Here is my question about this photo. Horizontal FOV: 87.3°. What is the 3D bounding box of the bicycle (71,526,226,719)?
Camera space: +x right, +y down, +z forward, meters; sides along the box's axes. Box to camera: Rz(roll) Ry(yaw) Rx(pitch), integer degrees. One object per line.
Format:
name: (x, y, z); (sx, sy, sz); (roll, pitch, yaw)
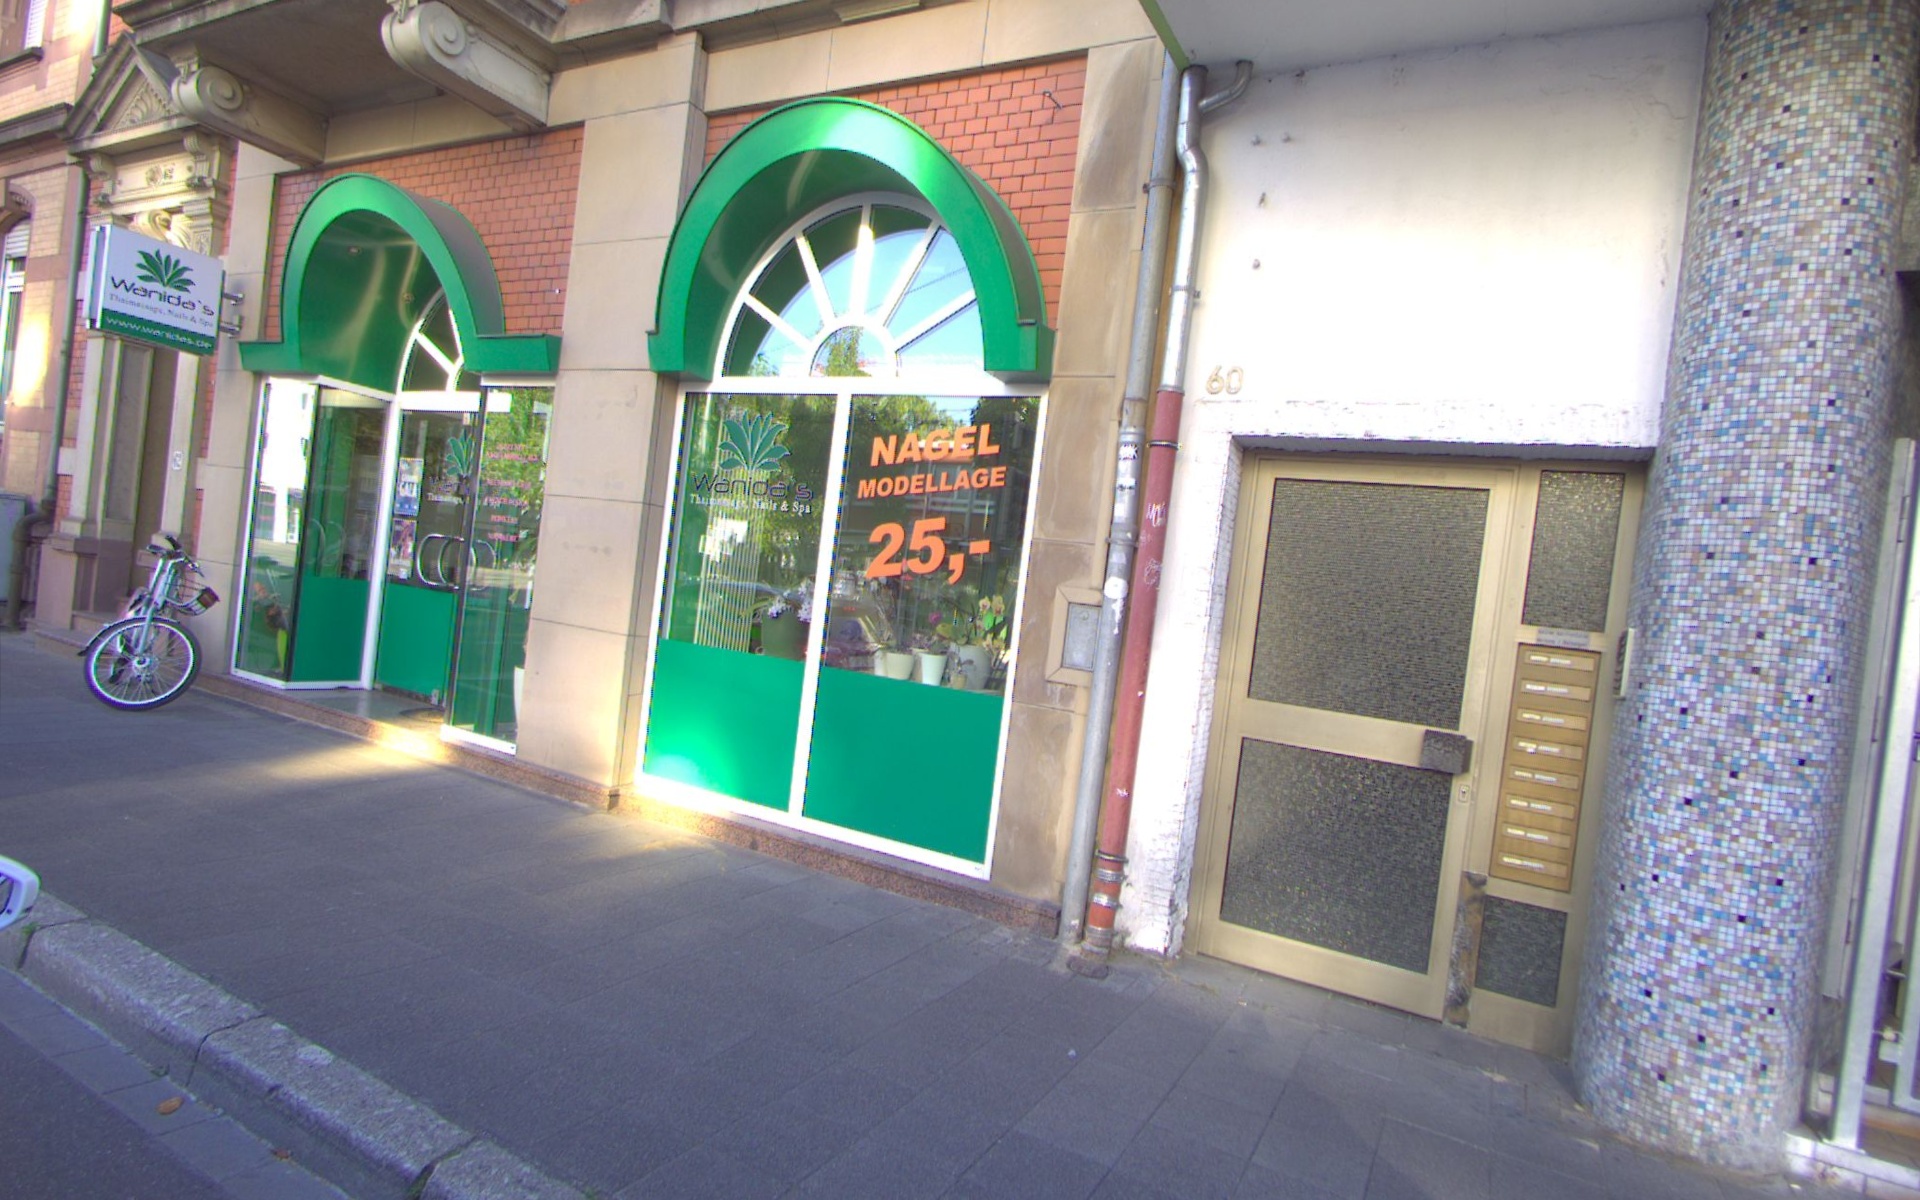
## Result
bicycle: (-5.807, 0.127, 7.163); (0.712, 1.167, 1.635); (4, 2, -42)
